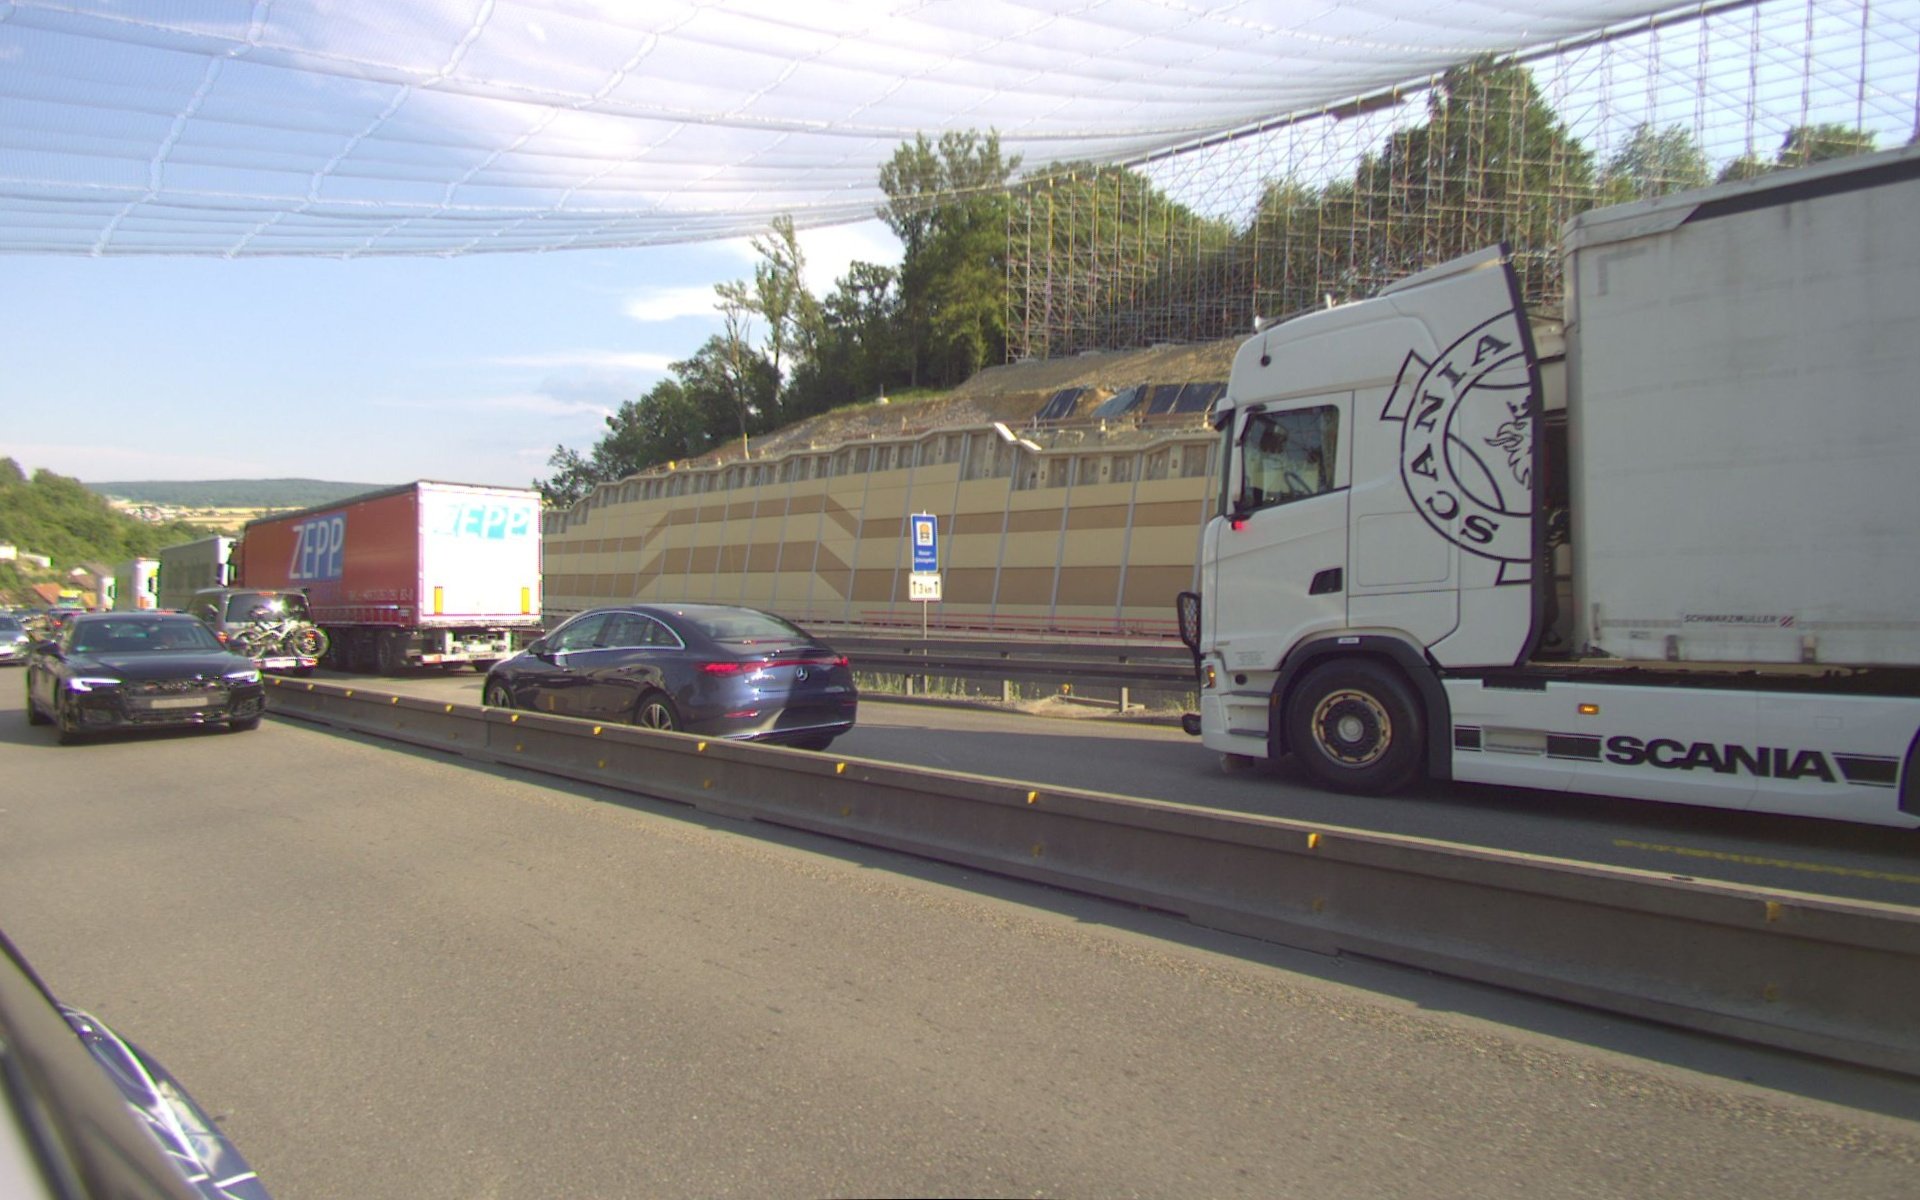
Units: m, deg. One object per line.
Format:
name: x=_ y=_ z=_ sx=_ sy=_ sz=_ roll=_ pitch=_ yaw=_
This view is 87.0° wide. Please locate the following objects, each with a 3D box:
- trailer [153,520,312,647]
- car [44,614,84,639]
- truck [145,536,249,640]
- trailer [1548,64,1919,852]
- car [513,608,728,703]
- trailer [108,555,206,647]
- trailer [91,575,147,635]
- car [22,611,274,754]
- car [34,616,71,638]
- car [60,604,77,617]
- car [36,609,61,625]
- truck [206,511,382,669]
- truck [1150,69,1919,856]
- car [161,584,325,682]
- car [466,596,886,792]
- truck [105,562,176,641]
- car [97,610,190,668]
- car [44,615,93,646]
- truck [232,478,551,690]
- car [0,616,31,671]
trailer: x=-28.331 y=-0.508 z=38.973 sx=2.767 sy=4.172 sz=13.974 roll=0 pitch=-1 yaw=-45
car: x=-55.648 y=1.619 z=62.811 sx=1.712 sy=1.450 sz=4.842 roll=-1 pitch=0 yaw=-43
truck: x=-32.944 y=-0.480 z=43.615 sx=5.937 sy=4.172 sz=2.755 roll=0 pitch=-1 yaw=45
trailer: x=10.012 y=-0.855 z=3.115 sx=13.909 sy=4.265 sz=2.626 roll=-1 pitch=0 yaw=40
car: x=-6.057 y=0.897 z=17.812 sx=4.135 sy=1.458 sz=1.704 roll=-1 pitch=0 yaw=41
trailer: x=-43.092 y=0.071 z=54.064 sx=2.734 sy=4.366 sz=13.892 roll=0 pitch=-1 yaw=-44
trailer: x=-65.139 y=0.387 z=78.261 sx=2.688 sy=4.250 sz=13.765 roll=0 pitch=-1 yaw=-42
car: x=-9.979 y=0.868 z=12.331 sx=4.000 sy=1.409 sz=1.842 roll=0 pitch=-1 yaw=43
car: x=-64.470 y=1.898 z=71.865 sx=1.711 sy=1.388 sz=4.894 roll=-2 pitch=1 yaw=-45
car: x=-144.164 y=1.764 z=163.661 sx=1.794 sy=2.015 sz=4.763 roll=3 pitch=-3 yaw=-39
car: x=-102.129 y=1.921 z=113.393 sx=1.794 sy=1.591 sz=4.763 roll=3 pitch=-3 yaw=-39
truck: x=-19.832 y=-0.251 z=29.997 sx=6.677 sy=4.172 sz=2.758 roll=0 pitch=-1 yaw=42
truck: x=4.773 y=-0.731 z=7.548 sx=6.099 sy=4.262 sz=2.636 roll=-1 pitch=-1 yaw=40
car: x=-15.940 y=0.732 z=22.408 sx=4.860 sy=1.950 sz=1.854 roll=-1 pitch=-4 yaw=42
car: x=-3.050 y=0.767 z=10.212 sx=4.752 sy=1.514 sz=1.766 roll=-1 pitch=0 yaw=41
truck: x=-47.599 y=0.108 z=58.730 sx=2.713 sy=4.332 sz=5.938 roll=0 pitch=-1 yaw=-44
car: x=-23.998 y=1.080 z=29.692 sx=1.722 sy=1.546 sz=4.270 roll=-1 pitch=0 yaw=-44
car: x=-45.218 y=1.510 z=51.304 sx=1.631 sy=1.475 sz=4.403 roll=-1 pitch=0 yaw=-45
truck: x=-14.926 y=-0.286 z=25.578 sx=13.804 sy=4.172 sz=2.757 roll=0 pitch=-1 yaw=42
car: x=-26.521 y=1.171 z=27.354 sx=3.998 sy=1.409 sz=1.676 roll=-2 pitch=0 yaw=42
